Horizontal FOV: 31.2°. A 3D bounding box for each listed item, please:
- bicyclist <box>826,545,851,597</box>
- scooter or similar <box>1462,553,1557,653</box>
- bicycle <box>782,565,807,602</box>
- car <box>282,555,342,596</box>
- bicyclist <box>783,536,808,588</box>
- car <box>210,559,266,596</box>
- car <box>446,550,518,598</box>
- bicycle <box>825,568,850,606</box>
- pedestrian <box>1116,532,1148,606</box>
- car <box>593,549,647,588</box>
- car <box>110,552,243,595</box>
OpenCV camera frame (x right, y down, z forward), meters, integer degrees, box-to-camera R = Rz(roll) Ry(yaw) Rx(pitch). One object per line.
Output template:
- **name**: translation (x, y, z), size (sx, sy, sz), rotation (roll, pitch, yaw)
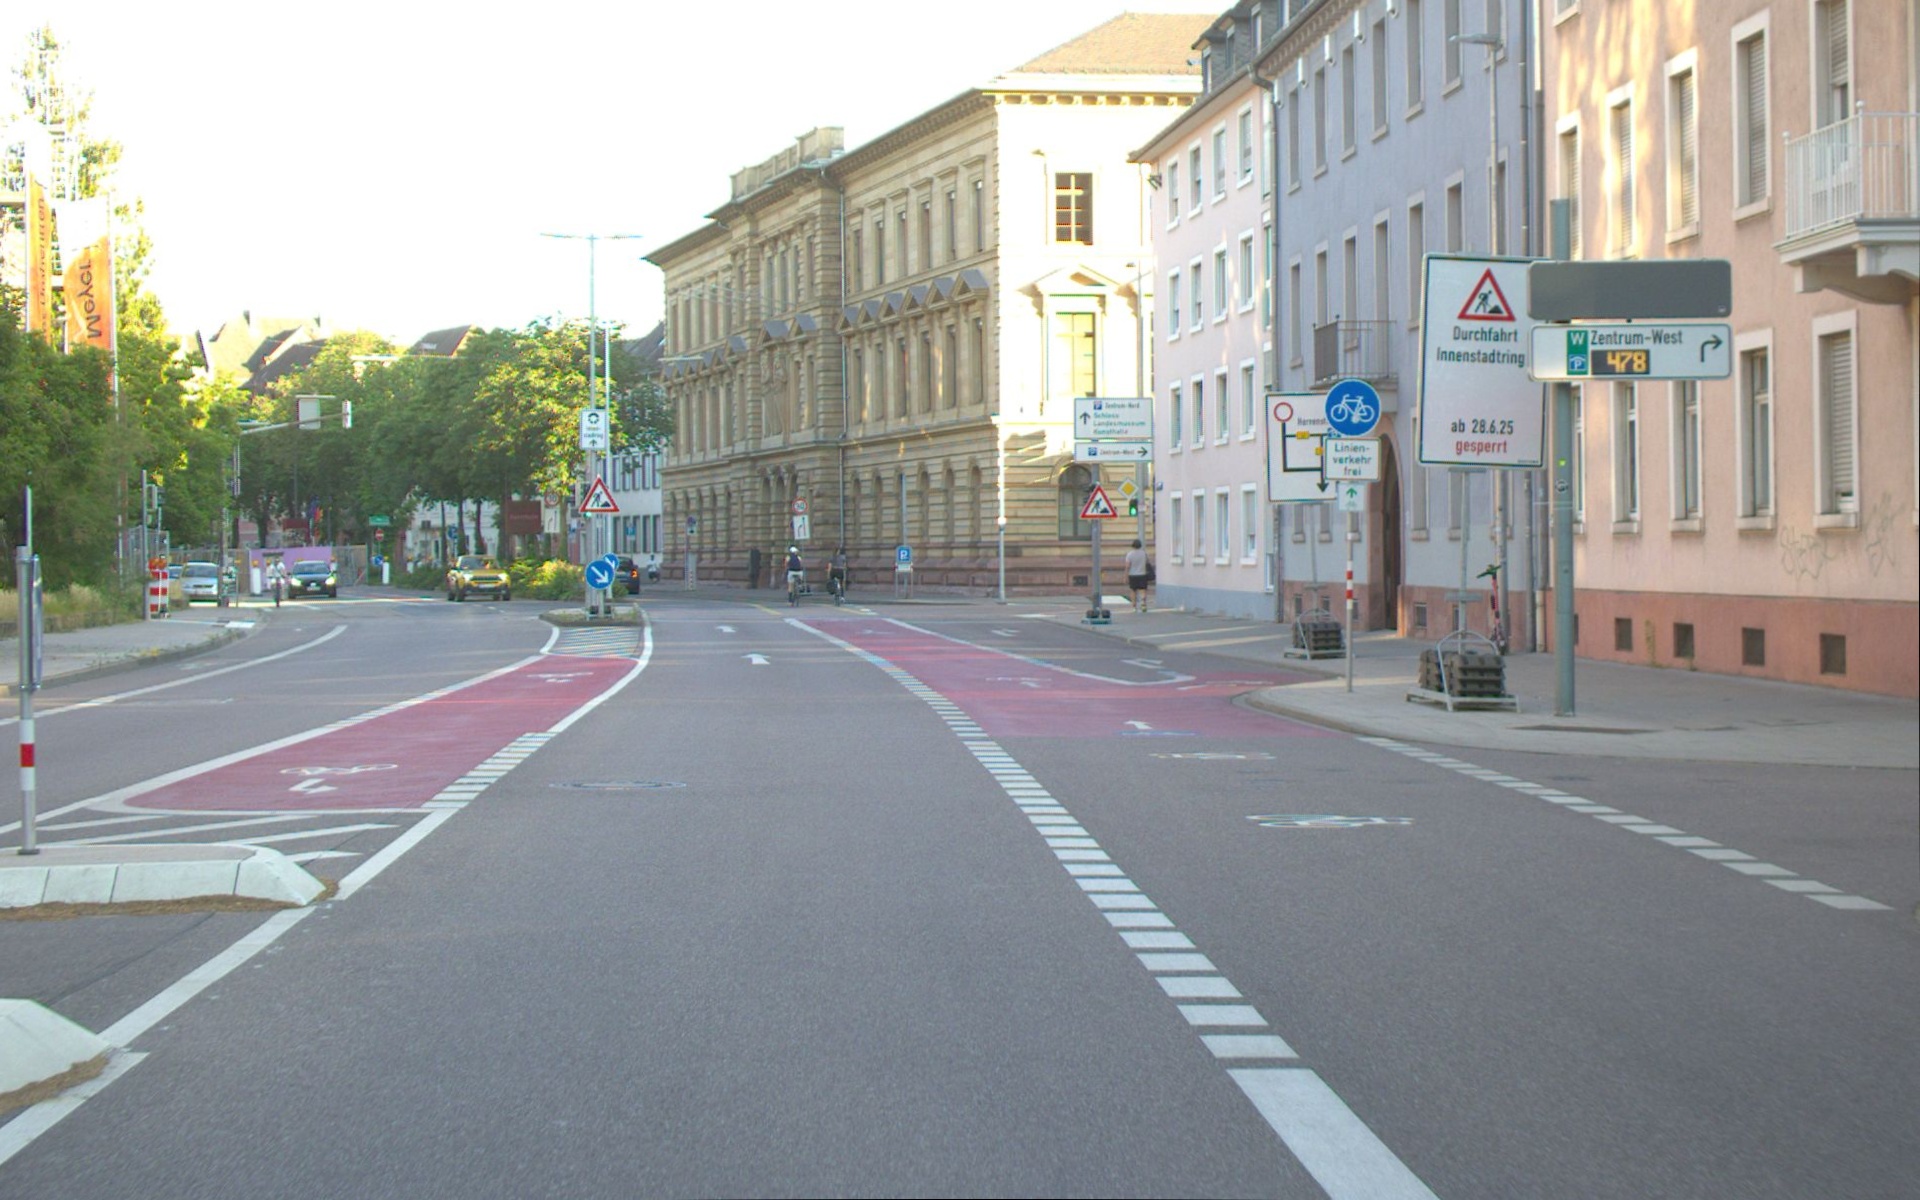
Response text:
- **bicyclist**: translation (-3.501, -0.843, 98.833), size (0.652, 1.470, 0.941), rotation (2, 1, -1)
- **scooter or similar**: translation (7.526, 0.023, 47.189), size (0.629, 1.332, 2.401), rotation (0, 1, -7)
- **bicycle**: translation (-4.755, -0.469, 98.850), size (0.652, 1.012, 2.198), rotation (2, 1, -1)
- **car**: translation (-25.505, -0.988, 135.222), size (1.993, 1.579, 4.001), rotation (0, 1, -16)
- **bicyclist**: translation (-4.731, -1.097, 98.984), size (0.652, 1.441, 0.879), rotation (2, 1, -1)
- **car**: translation (-31.213, -0.977, 148.536), size (1.993, 1.579, 4.001), rotation (0, 1, -17)
- **car**: translation (-16.133, -0.899, 115.956), size (1.993, 1.579, 4.001), rotation (0, 1, -14)
- **bicycle**: translation (-3.523, -0.381, 98.837), size (0.652, 1.012, 2.198), rotation (2, 1, -1)
- **pedestrian**: translation (4.089, -0.745, 81.735), size (0.762, 1.749, 0.845), rotation (0, 1, 4)
- **car**: translation (-13.589, -1.273, 137.274), size (1.867, 1.504, 4.001), rotation (1, 1, -10)
- **car**: translation (-26.024, -0.896, 114.184), size (3.993, 1.415, 1.997), rotation (1, 1, 30)
